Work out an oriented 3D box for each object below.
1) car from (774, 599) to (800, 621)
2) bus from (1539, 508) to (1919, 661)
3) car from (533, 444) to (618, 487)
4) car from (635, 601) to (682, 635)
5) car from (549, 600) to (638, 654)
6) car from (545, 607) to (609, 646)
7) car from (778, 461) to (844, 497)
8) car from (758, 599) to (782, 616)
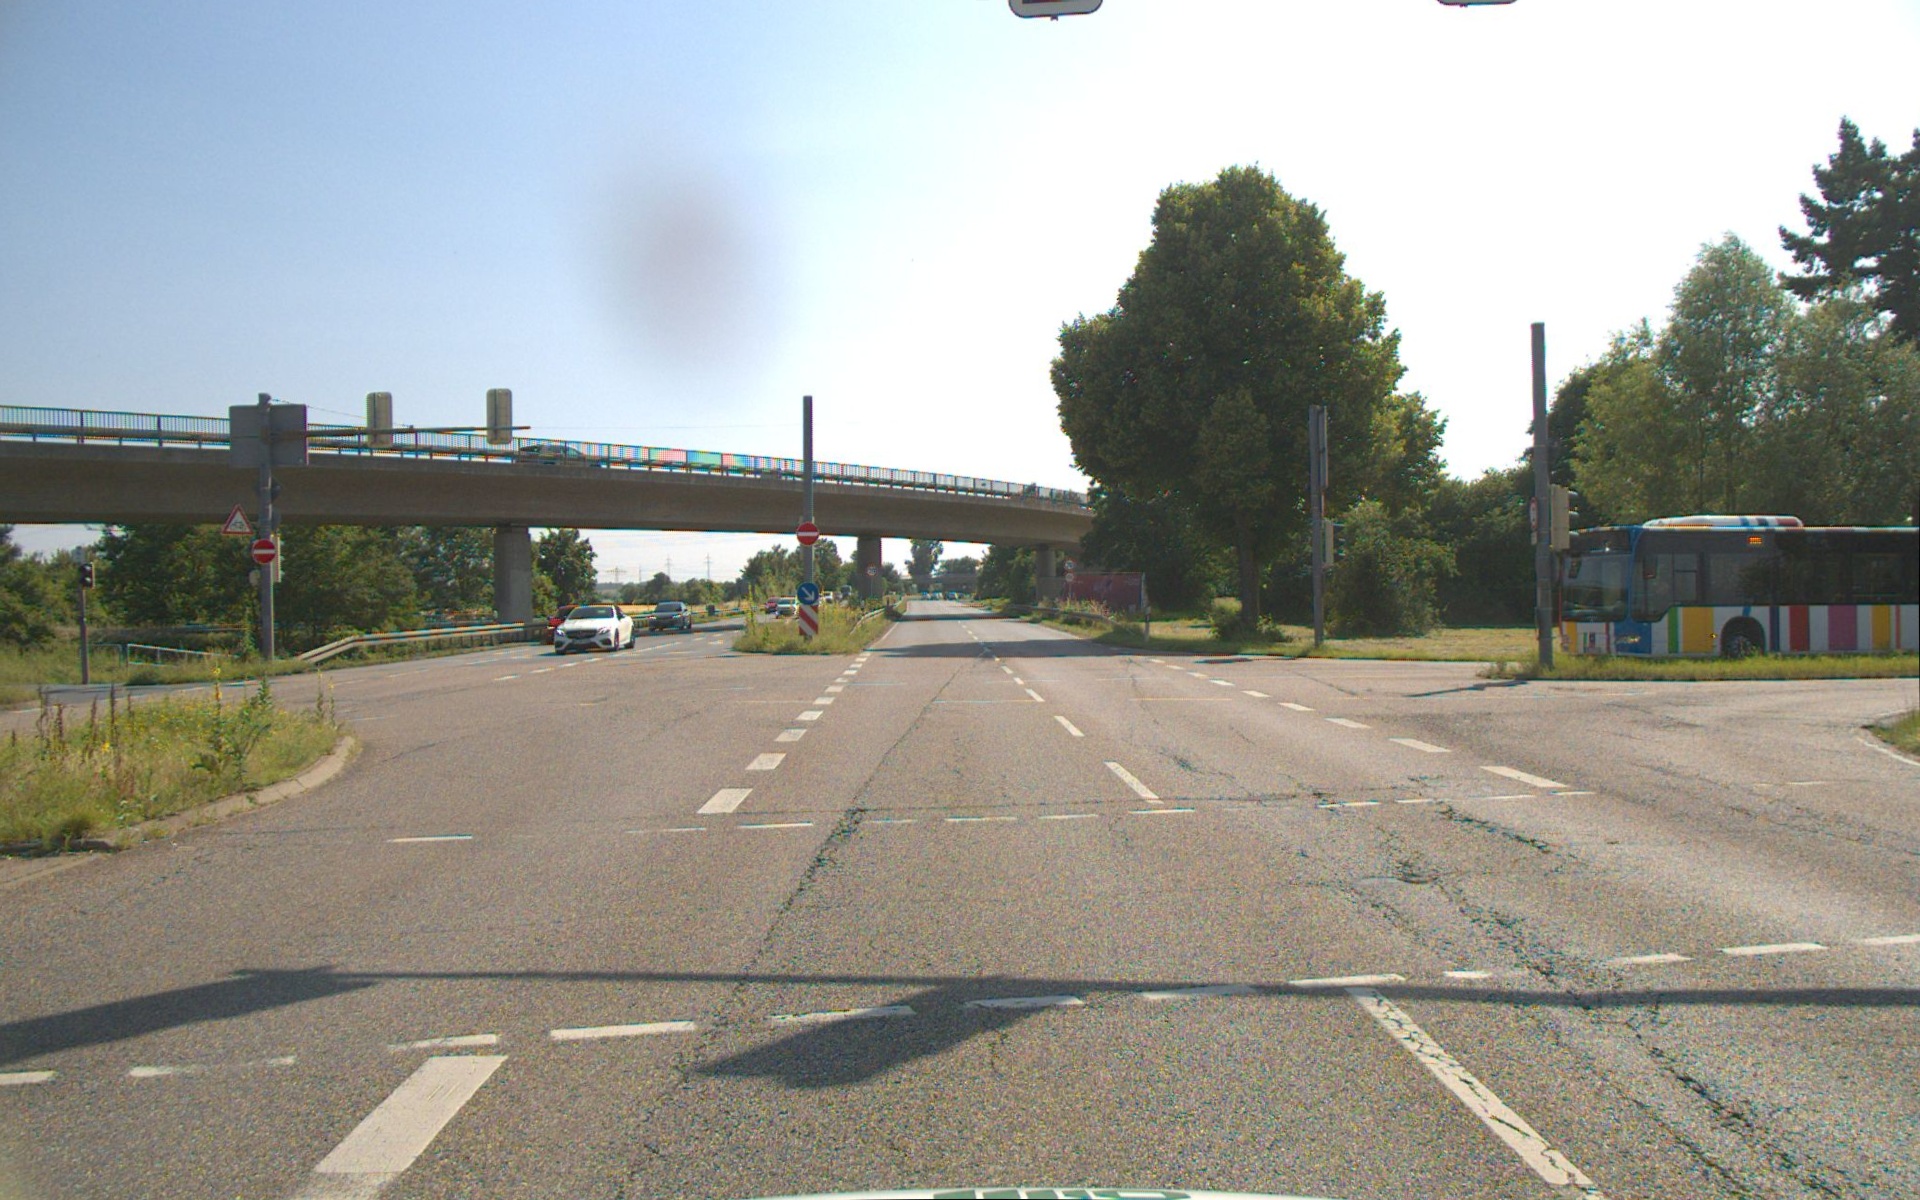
[{"bbox_3d":[-12.687,0.737,121.749,1.525,1.567,3.999,-2,0,-1],"label":"car"},{"bbox_3d":[18.451,-0.419,35.628,11.745,2.927,2.929,-2,0,-16],"label":"bus"},{"bbox_3d":[-16.206,-5.643,69.856,1.509,1.503,3.381,-3,-1,34],"label":"car"},{"bbox_3d":[-15.551,0.903,85.424,1.754,1.656,3.998,-2,0,-2],"label":"car"},{"bbox_3d":[-11.280,0.796,51.141,1.819,1.473,4.239,-3,0,-2],"label":"car"},{"bbox_3d":[-15.044,1.027,65.171,1.607,1.409,4.239,-2,0,-2],"label":"car"},{"bbox_3d":[-7.652,-6.206,85.367,1.704,1.495,3.746,1,-1,26],"label":"car"},{"bbox_3d":[-18.917,0.754,164.809,1.953,1.585,4.000,-2,0,0],"label":"car"}]
